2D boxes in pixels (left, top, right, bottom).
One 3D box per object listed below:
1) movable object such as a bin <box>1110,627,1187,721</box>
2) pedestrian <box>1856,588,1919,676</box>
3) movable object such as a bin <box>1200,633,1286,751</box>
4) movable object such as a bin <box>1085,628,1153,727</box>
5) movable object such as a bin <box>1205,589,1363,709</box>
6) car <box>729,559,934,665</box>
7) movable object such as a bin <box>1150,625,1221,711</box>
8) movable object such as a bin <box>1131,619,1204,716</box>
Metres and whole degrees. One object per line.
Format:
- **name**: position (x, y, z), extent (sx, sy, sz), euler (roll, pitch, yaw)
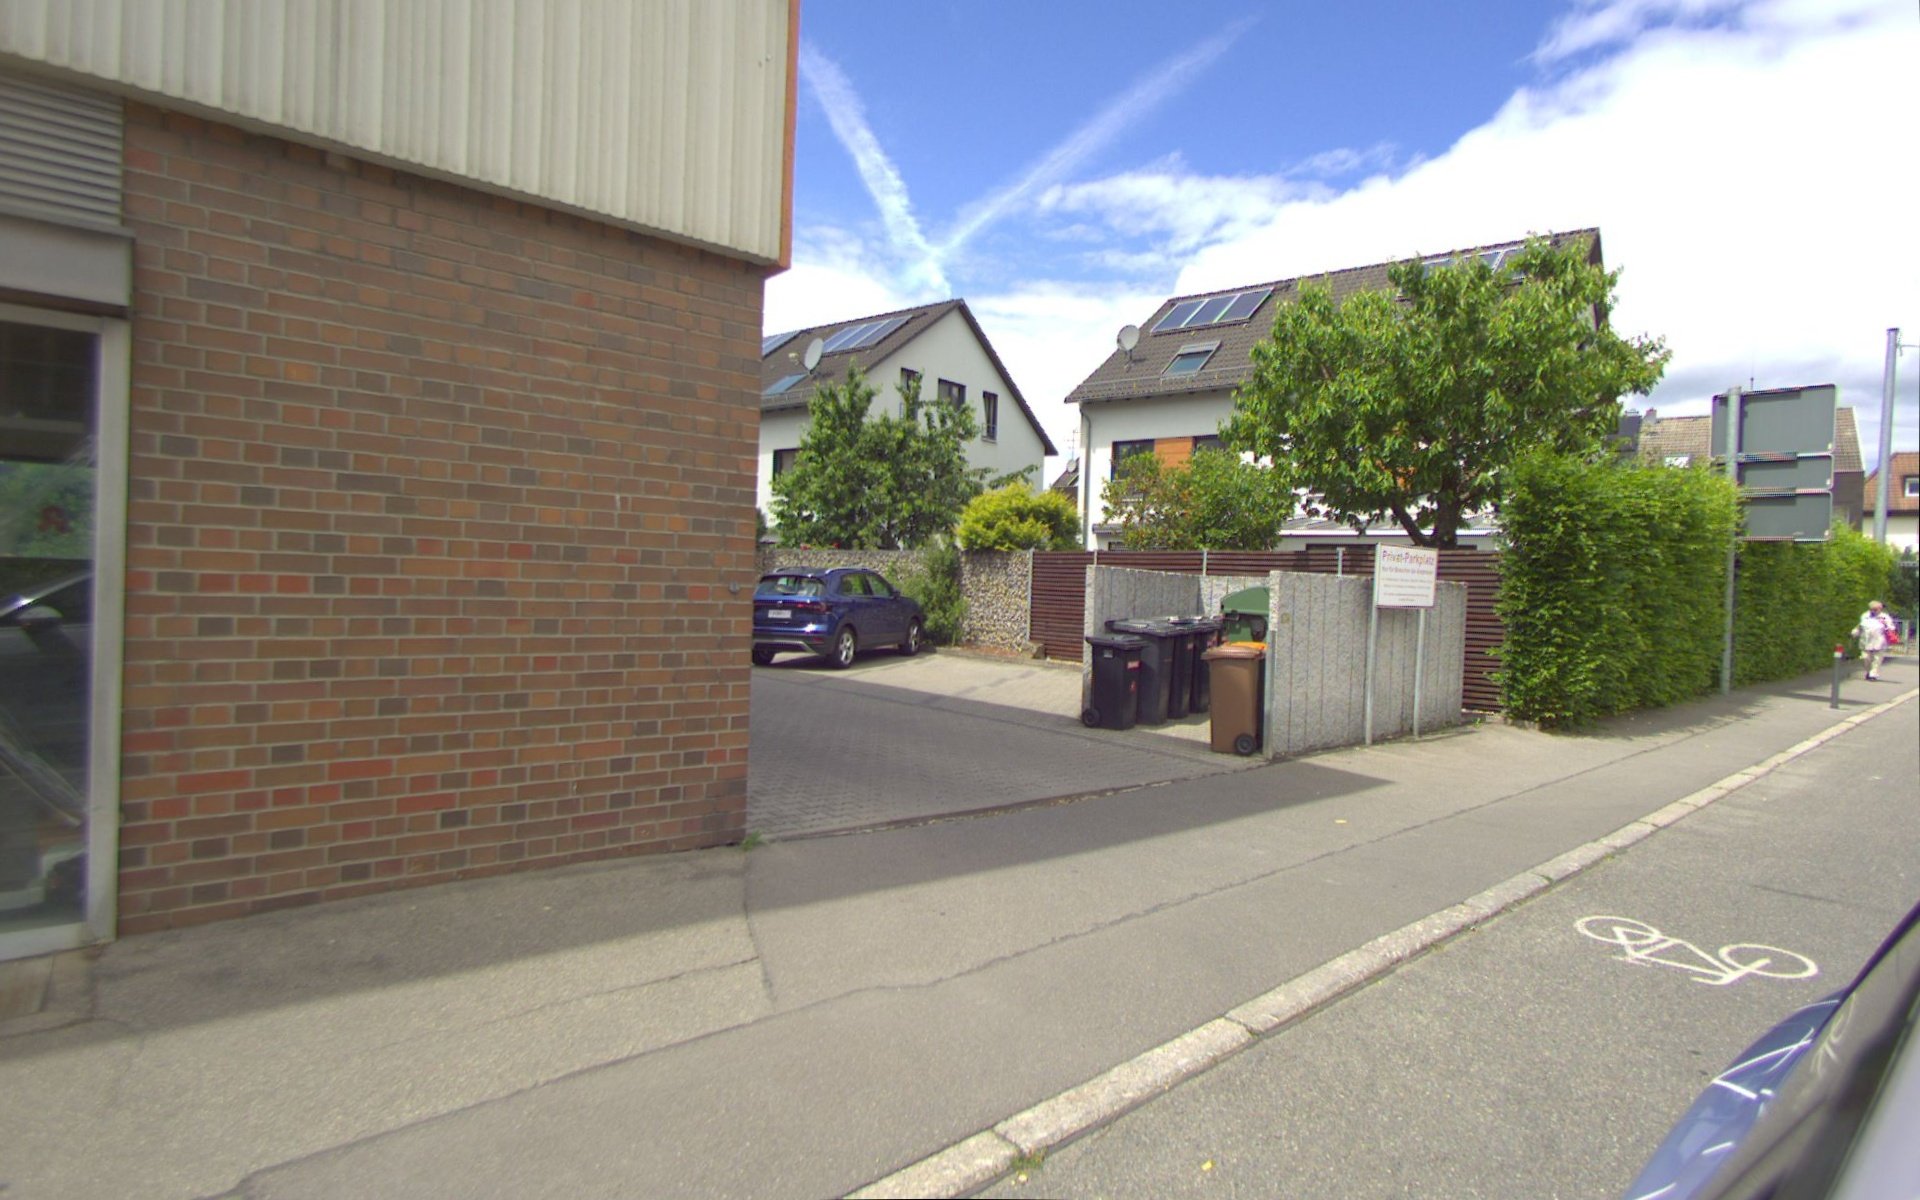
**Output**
- **movable object such as a bin**: position (1.971, 0.756, 10.567), extent (0.630, 0.904, 0.534), euler (1, 0, 33)
- **pedestrian**: position (18.109, 0.609, 19.733), extent (0.641, 1.637, 0.801), euler (1, 2, -39)
- **movable object such as a bin**: position (2.523, 0.791, 9.004), extent (0.530, 0.963, 0.678), euler (1, 0, 36)
- **movable object such as a bin**: position (1.594, 0.757, 10.152), extent (0.490, 0.924, 0.534), euler (1, 0, 33)
- **movable object such as a bin**: position (3.837, 0.530, 11.954), extent (1.509, 1.278, 1.190), euler (0, 1, -43)
- **car**: position (-2.034, 0.144, 17.093), extent (1.768, 1.555, 3.767), euler (2, 1, 23)
- **movable object such as a bin**: position (2.563, 0.752, 11.485), extent (0.630, 0.904, 0.534), euler (1, 0, 33)
- **movable object such as a bin**: position (2.263, 0.717, 11.030), extent (0.624, 0.979, 0.534), euler (1, 0, 33)
